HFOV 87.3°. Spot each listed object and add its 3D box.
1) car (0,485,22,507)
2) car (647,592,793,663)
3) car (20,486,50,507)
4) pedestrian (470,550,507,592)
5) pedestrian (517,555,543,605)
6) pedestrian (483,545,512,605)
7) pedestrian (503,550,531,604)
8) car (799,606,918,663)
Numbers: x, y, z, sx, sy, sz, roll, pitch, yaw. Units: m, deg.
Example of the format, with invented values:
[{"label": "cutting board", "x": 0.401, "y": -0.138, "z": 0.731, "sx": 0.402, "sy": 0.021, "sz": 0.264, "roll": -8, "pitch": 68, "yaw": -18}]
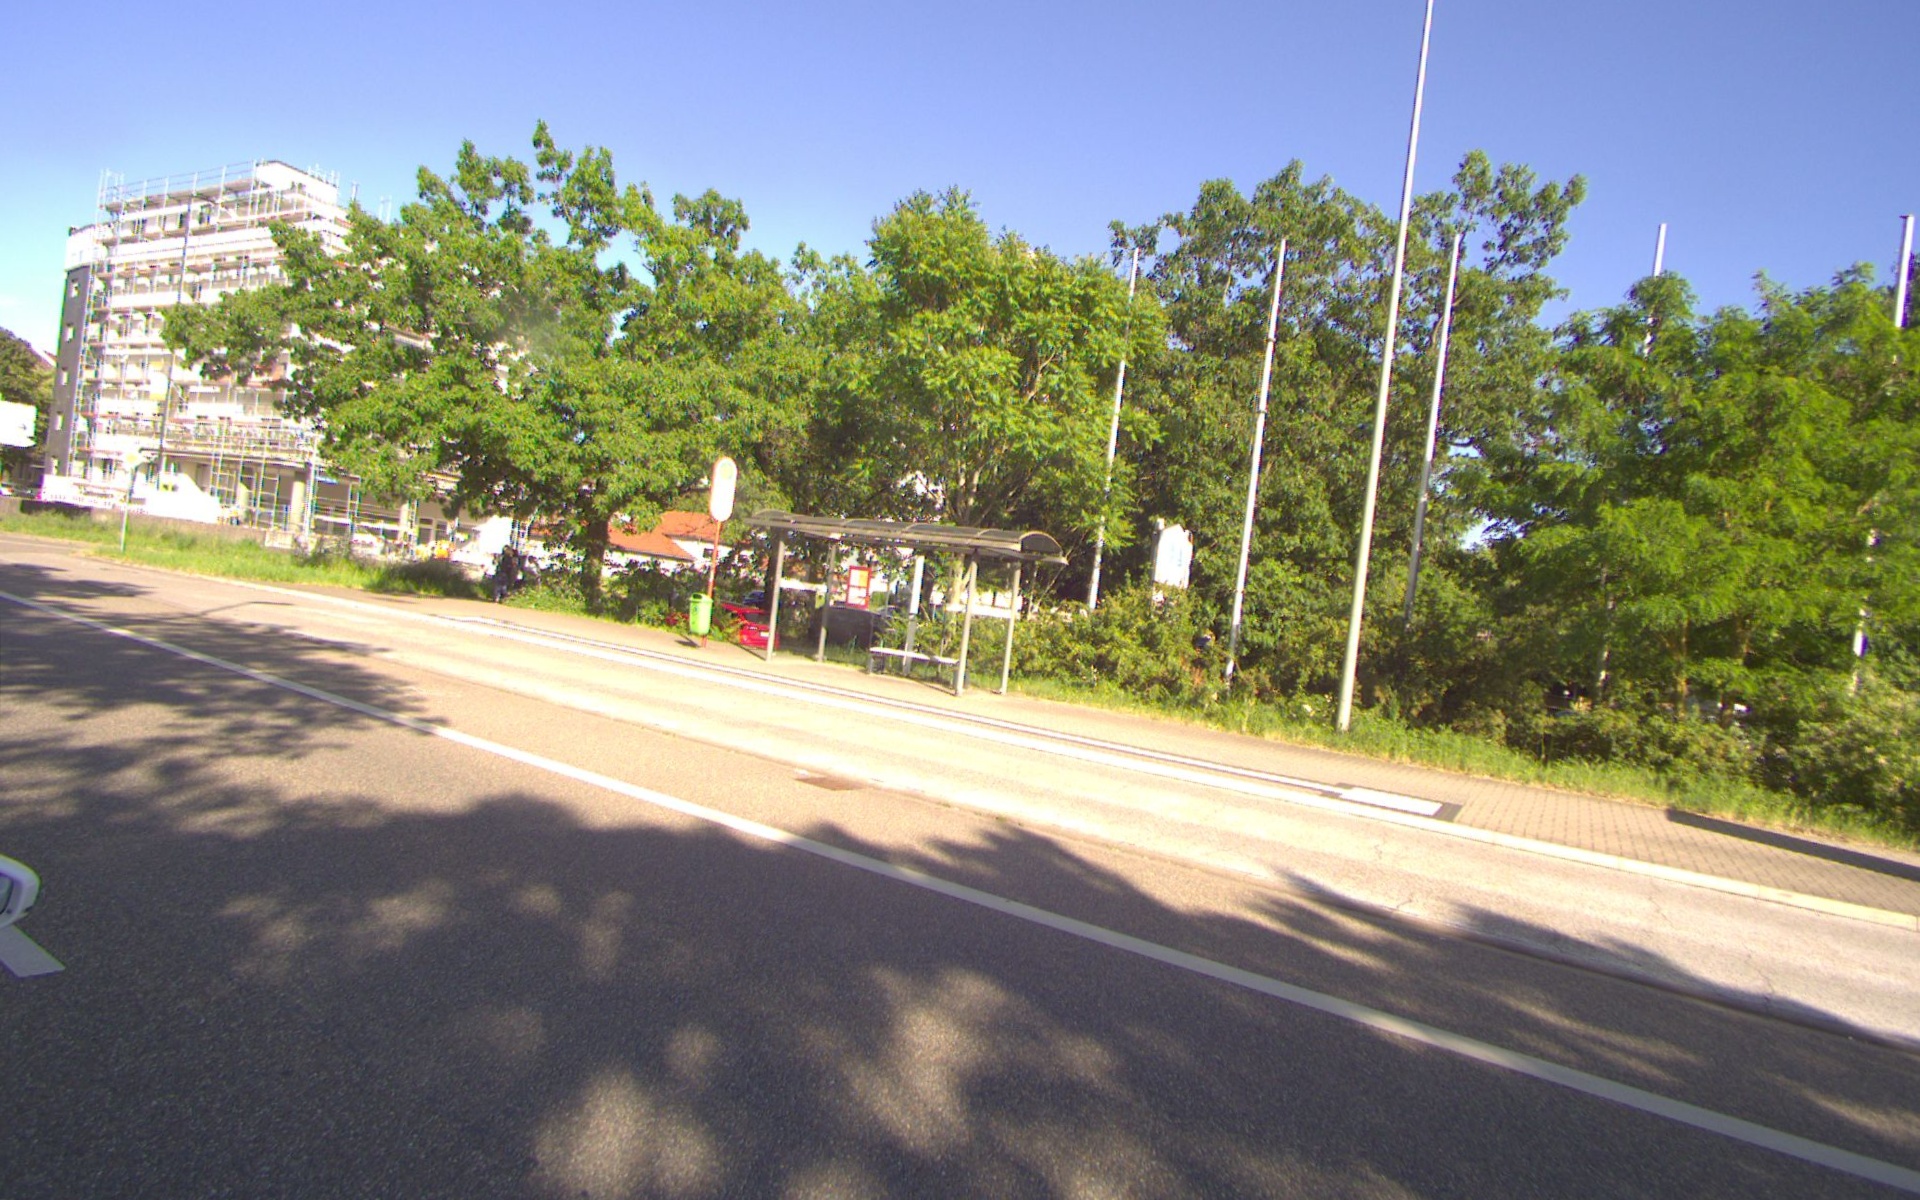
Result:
[{"label": "car", "x": -66.544, "y": -7.272, "z": 70.001, "sx": 1.521, "sy": 1.330, "sz": 3.250, "roll": 7, "pitch": 0, "yaw": -40}, {"label": "car", "x": -6.873, "y": 0.794, "z": 28.745, "sx": 3.680, "sy": 1.504, "sz": 1.755, "roll": 7, "pitch": 0, "yaw": 28}, {"label": "car", "x": -77.604, "y": -8.644, "z": 84.422, "sx": 1.521, "sy": 1.487, "sz": 3.250, "roll": 7, "pitch": 0, "yaw": -40}, {"label": "pedestrian", "x": -20.614, "y": -1.270, "z": 44.008, "sx": 0.969, "sy": 1.674, "sz": 0.891, "roll": 7, "pitch": 0, "yaw": 4}, {"label": "pedestrian", "x": -13.401, "y": -0.633, "z": 31.328, "sx": 0.517, "sy": 1.465, "sz": 0.587, "roll": 7, "pitch": 1, "yaw": -32}, {"label": "pedestrian", "x": -13.056, "y": -0.707, "z": 28.396, "sx": 0.517, "sy": 1.632, "sz": 0.587, "roll": 7, "pitch": 1, "yaw": -32}, {"label": "pedestrian", "x": -12.769, "y": -0.656, "z": 28.969, "sx": 0.517, "sy": 1.465, "sz": 0.587, "roll": 7, "pitch": 1, "yaw": -32}, {"label": "car", "x": -3.590, "y": 1.218, "z": 35.979, "sx": 3.674, "sy": 1.504, "sz": 1.914, "roll": 7, "pitch": 0, "yaw": 13}]
